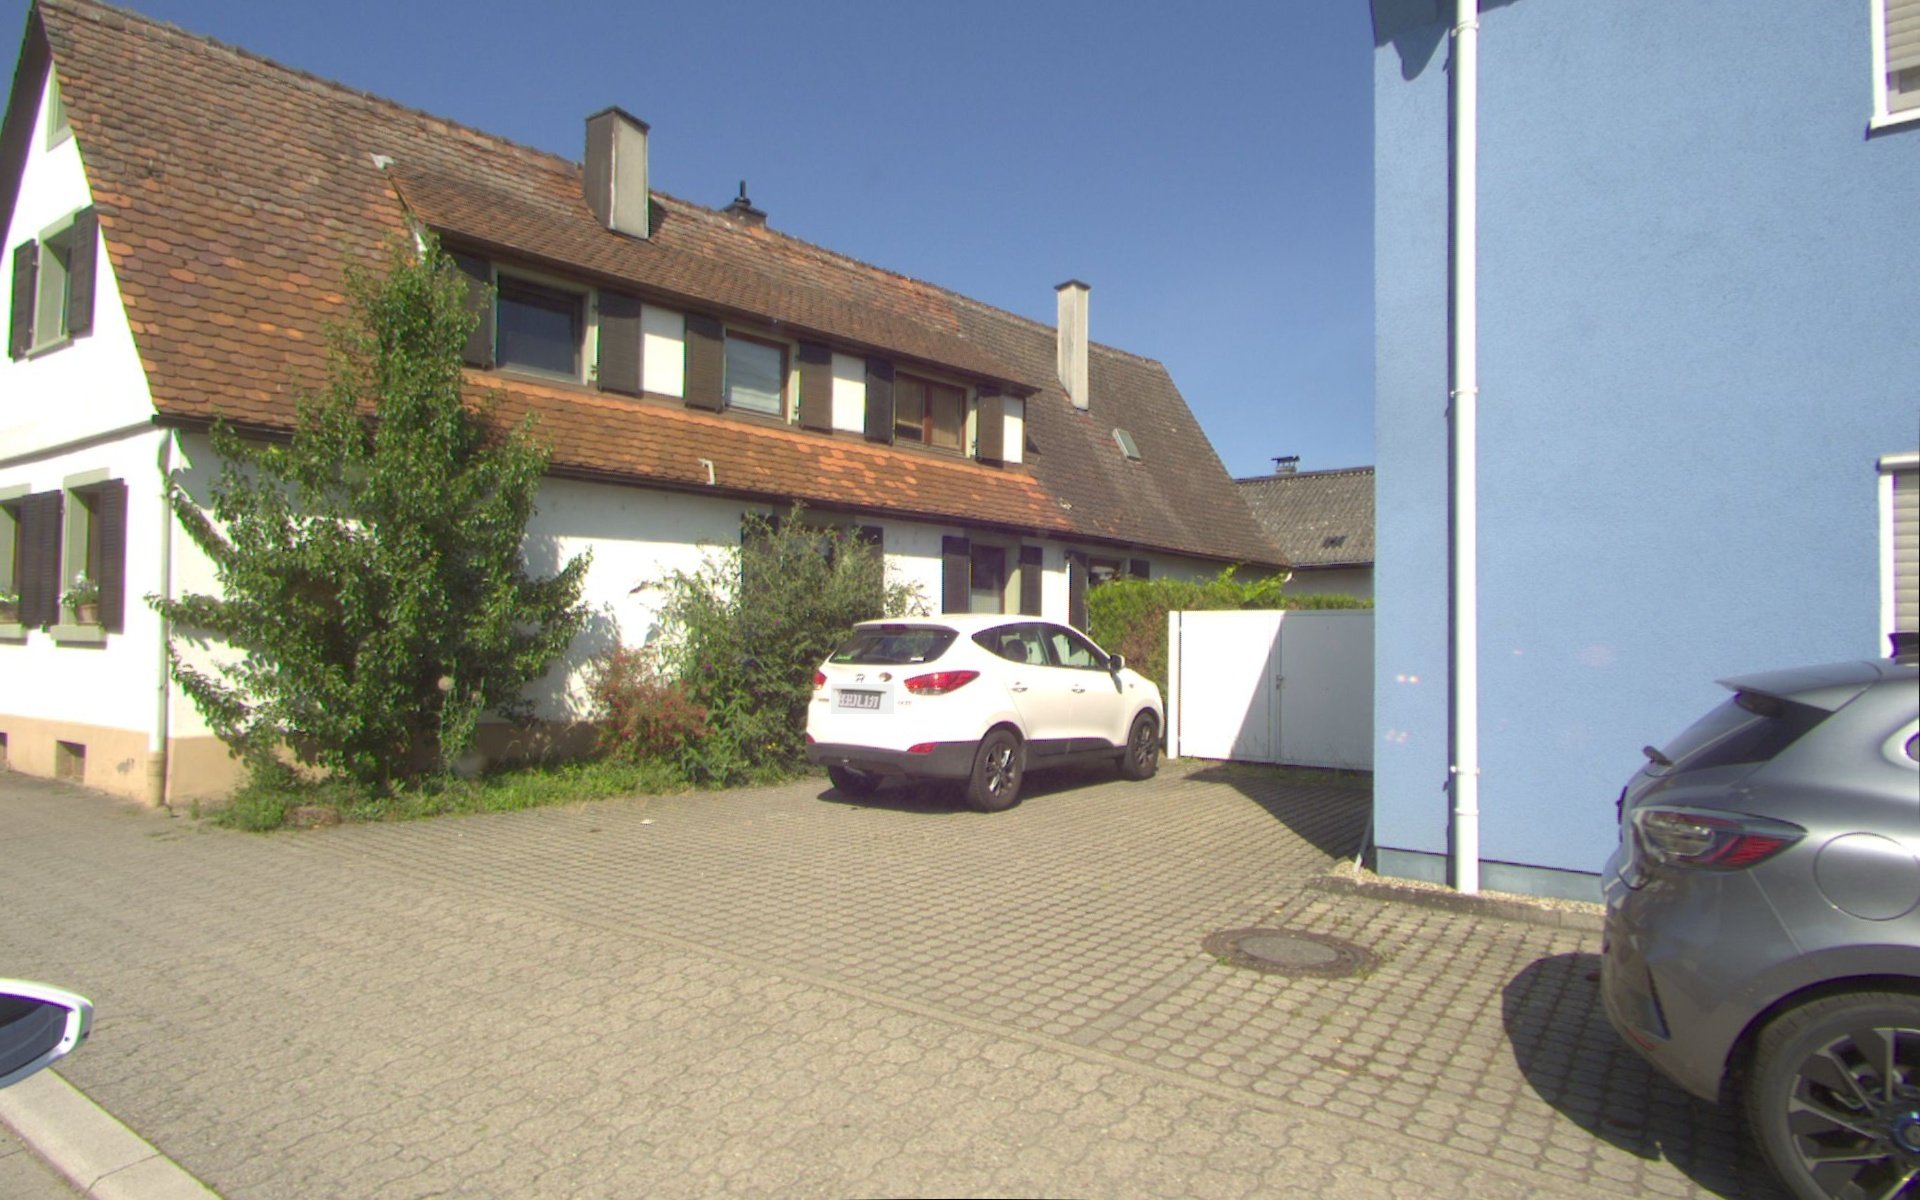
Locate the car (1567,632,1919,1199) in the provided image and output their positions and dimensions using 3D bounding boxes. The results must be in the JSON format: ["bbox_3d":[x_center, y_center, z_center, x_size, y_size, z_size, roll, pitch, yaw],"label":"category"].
[{"bbox_3d":[3.723,0.802,2.081,4.092,1.437,1.686,-2,-4,36],"label":"car"}]

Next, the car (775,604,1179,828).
[{"bbox_3d":[0.386,0.971,9.716,1.790,1.678,4.160,-2,-3,38],"label":"car"}]
